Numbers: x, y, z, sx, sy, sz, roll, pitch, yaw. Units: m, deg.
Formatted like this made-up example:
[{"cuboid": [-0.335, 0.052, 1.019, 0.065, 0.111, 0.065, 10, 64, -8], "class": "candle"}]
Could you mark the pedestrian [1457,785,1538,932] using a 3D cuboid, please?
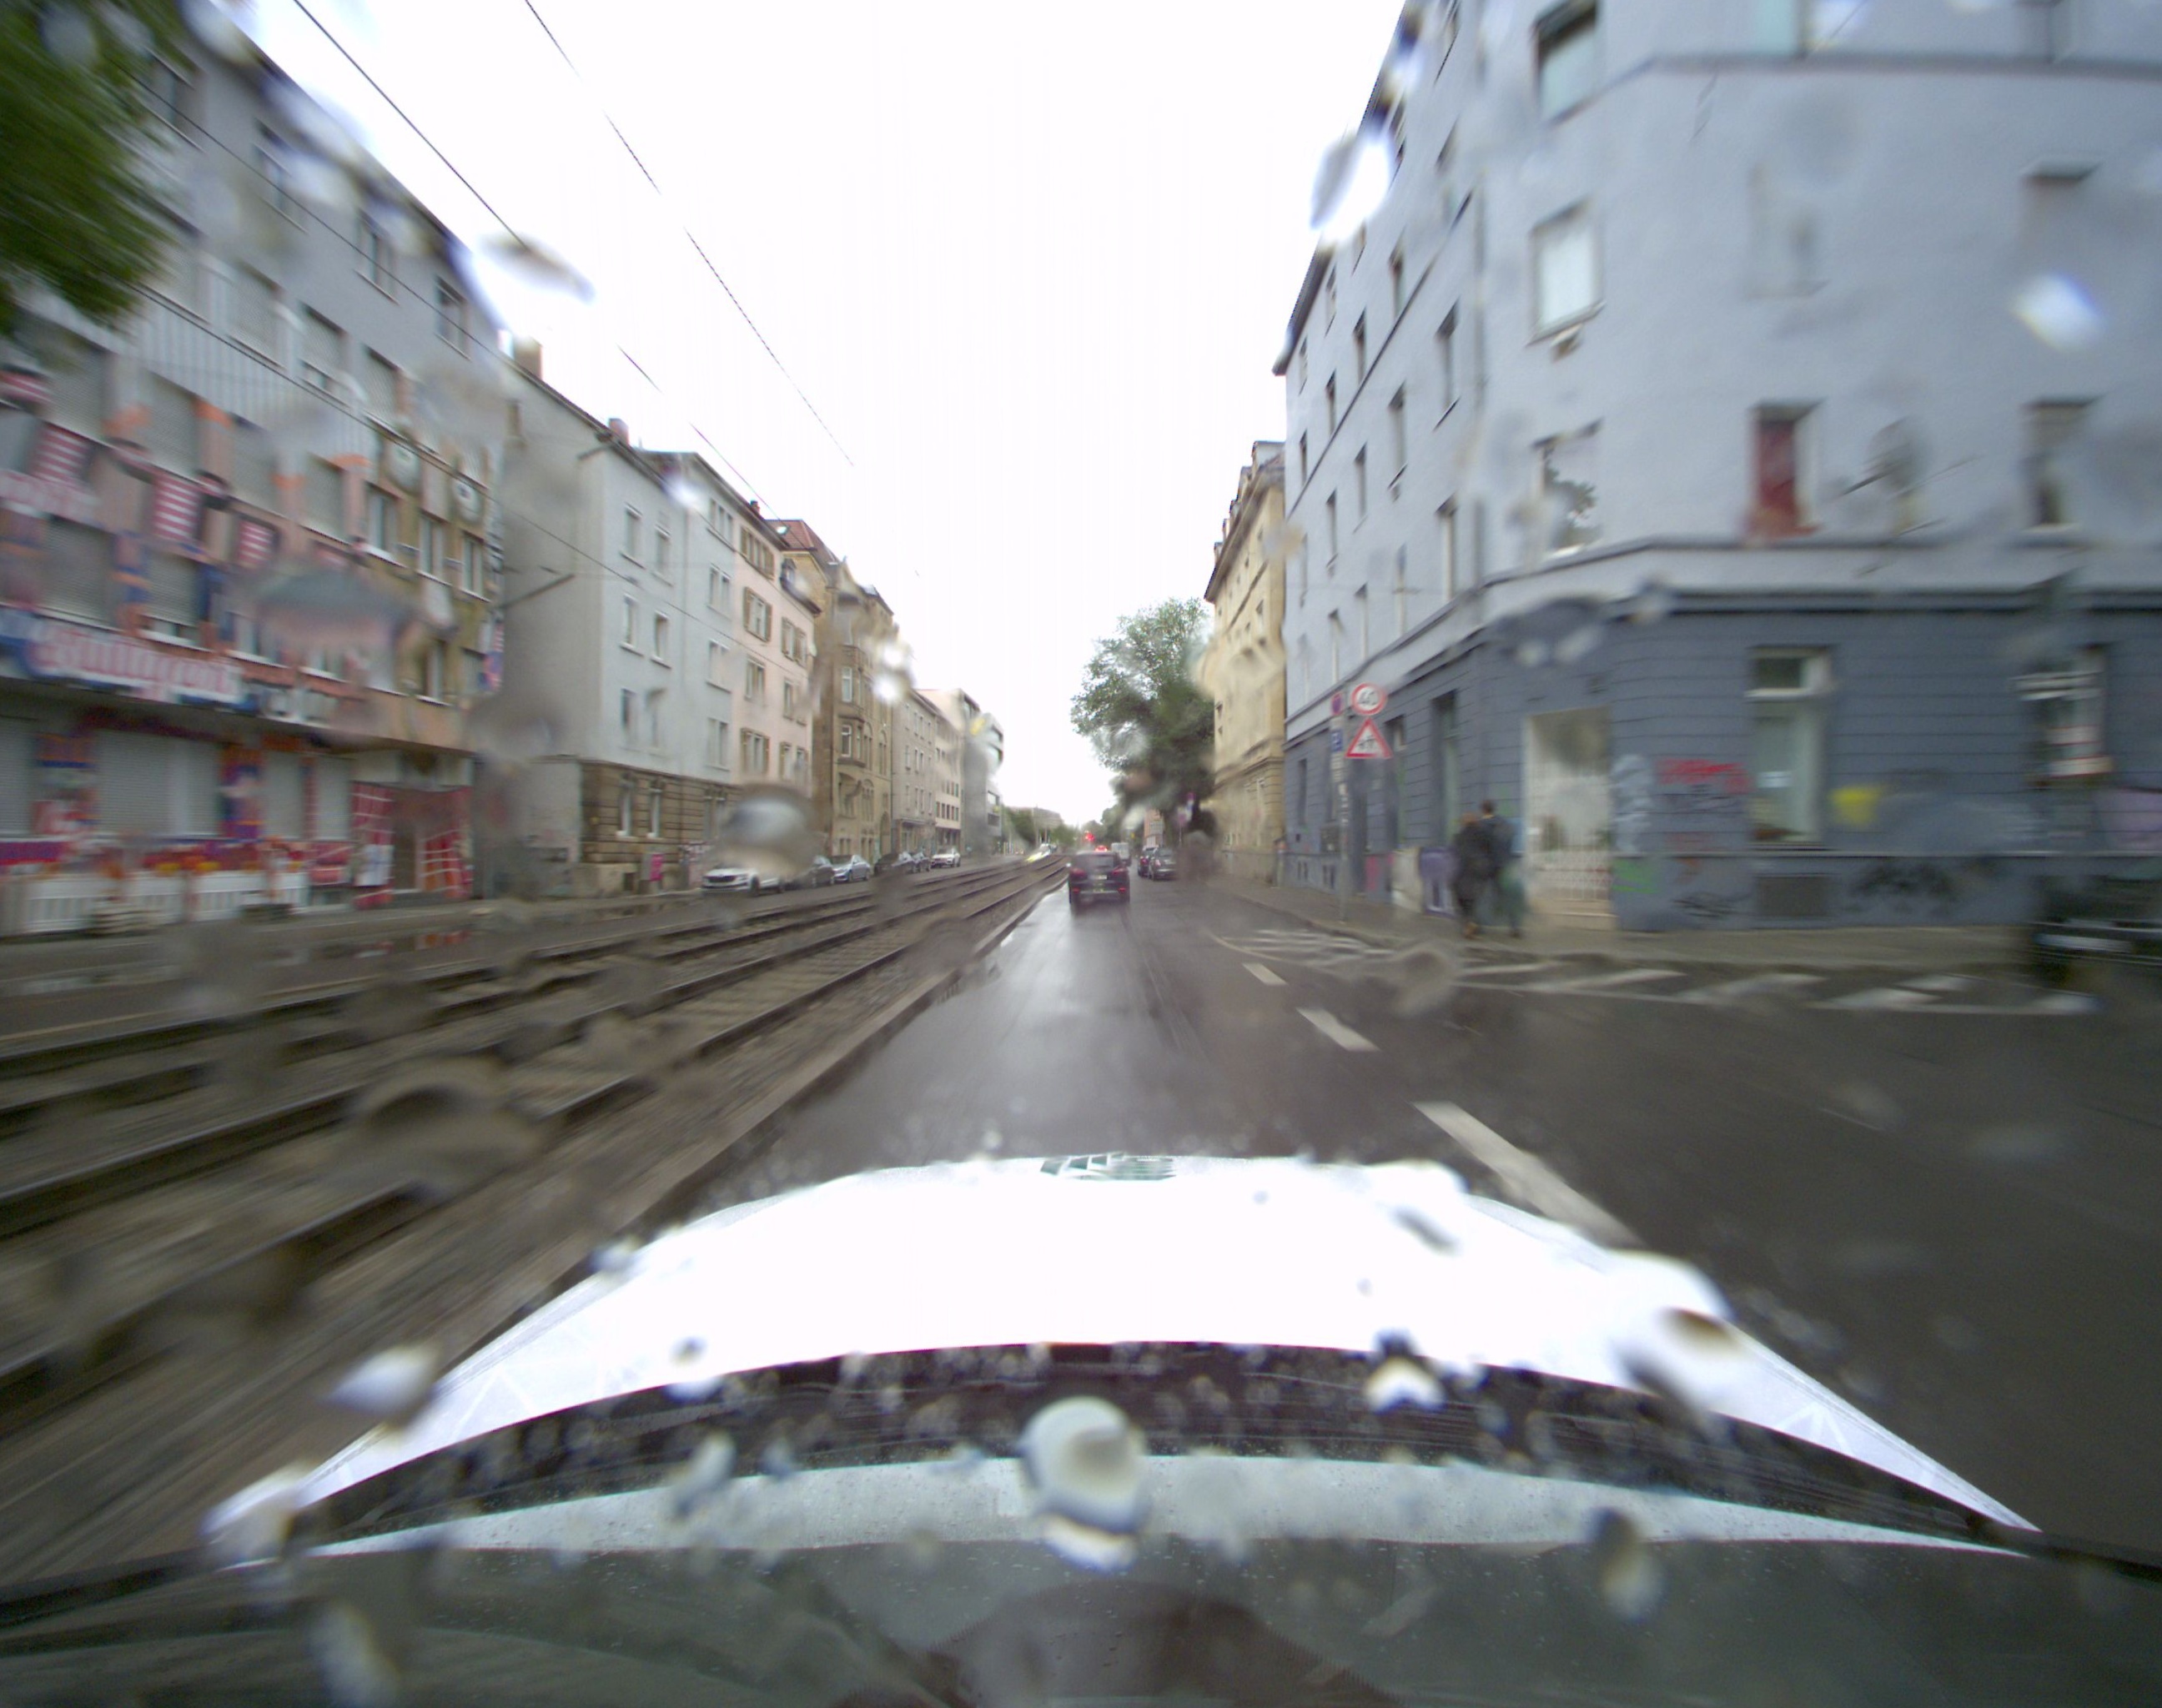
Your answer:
[{"cuboid": [5.907, 0.053, 11.587, 0.733, 2.013, 0.821, 0, 0, 0], "class": "pedestrian"}]

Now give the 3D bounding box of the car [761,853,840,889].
[{"cuboid": [-12.490, 0.720, 36.547, 1.986, 1.519, 4.210, 0, 0, 1], "class": "car"}]

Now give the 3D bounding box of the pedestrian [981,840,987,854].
[{"cuboid": [-13.021, -0.941, 109.448, 0.741, 1.853, 0.839, -1, -1, 0], "class": "pedestrian"}]

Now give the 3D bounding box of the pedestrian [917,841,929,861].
[{"cuboid": [-13.824, -0.259, 71.296, 0.799, 1.750, 0.984, 0, 0, 1], "class": "pedestrian"}]

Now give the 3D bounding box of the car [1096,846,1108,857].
[{"cuboid": [3.537, -0.403, 137.064, 1.986, 1.594, 4.273, -1, -1, 2], "class": "car"}]

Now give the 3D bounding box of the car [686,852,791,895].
[{"cuboid": [-12.784, 0.685, 30.714, 1.986, 1.519, 4.436, 0, 0, 1], "class": "car"}]

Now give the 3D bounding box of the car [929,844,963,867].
[{"cuboid": [-11.523, 0.122, 69.853, 1.987, 1.839, 5.070, 0, 0, 0], "class": "car"}]

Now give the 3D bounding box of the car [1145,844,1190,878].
[{"cuboid": [3.999, 0.290, 38.005, 1.733, 1.489, 4.001, 0, 1, 1], "class": "car"}]

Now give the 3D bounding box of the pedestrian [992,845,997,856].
[{"cuboid": [-15.244, -0.655, 143.835, 0.741, 1.853, 0.839, -1, -1, 0], "class": "pedestrian"}]

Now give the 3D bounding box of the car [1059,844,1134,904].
[{"cuboid": [0.498, 0.576, 24.097, 1.986, 1.594, 4.273, -1, -1, 2], "class": "car"}]

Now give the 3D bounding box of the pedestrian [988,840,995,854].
[{"cuboid": [-12.057, -0.971, 109.691, 0.741, 1.853, 0.839, -1, -1, 0], "class": "pedestrian"}]

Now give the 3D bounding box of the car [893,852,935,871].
[{"cuboid": [-11.943, 0.517, 58.519, 1.986, 1.376, 4.239, 0, 0, 1], "class": "car"}]

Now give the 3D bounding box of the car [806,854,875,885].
[{"cuboid": [-12.323, 0.756, 42.078, 1.986, 1.519, 4.993, 0, 0, 1], "class": "car"}]

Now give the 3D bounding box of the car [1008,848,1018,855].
[{"cuboid": [-14.361, -0.612, 172.233, 1.991, 1.442, 3.991, 0, 1, -7], "class": "car"}]

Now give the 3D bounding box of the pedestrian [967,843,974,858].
[{"cuboid": [-13.933, -0.424, 103.143, 0.741, 1.853, 0.839, -1, -1, 0], "class": "pedestrian"}]

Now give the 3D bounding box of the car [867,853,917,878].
[{"cuboid": [-11.979, 0.702, 51.970, 1.986, 1.519, 4.677, 0, 0, 1], "class": "car"}]

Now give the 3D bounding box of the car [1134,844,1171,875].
[{"cuboid": [3.687, 0.241, 42.561, 1.637, 1.516, 4.039, 0, 1, 1], "class": "car"}]

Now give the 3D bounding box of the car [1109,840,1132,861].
[{"cuboid": [3.548, -0.301, 73.319, 1.986, 1.816, 4.273, -1, -1, 2], "class": "car"}]

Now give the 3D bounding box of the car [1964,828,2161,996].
[{"cuboid": [11.220, 0.455, 7.573, 3.970, 1.430, 1.789, -1, 0, 3], "class": "car"}]

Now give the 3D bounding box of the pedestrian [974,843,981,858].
[{"cuboid": [-13.068, -0.476, 103.230, 0.741, 1.853, 0.839, -1, -1, 0], "class": "pedestrian"}]

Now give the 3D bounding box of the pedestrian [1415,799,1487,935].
[{"cuboid": [5.187, 0.174, 11.461, 0.659, 1.852, 0.821, 0, 0, 0], "class": "pedestrian"}]
